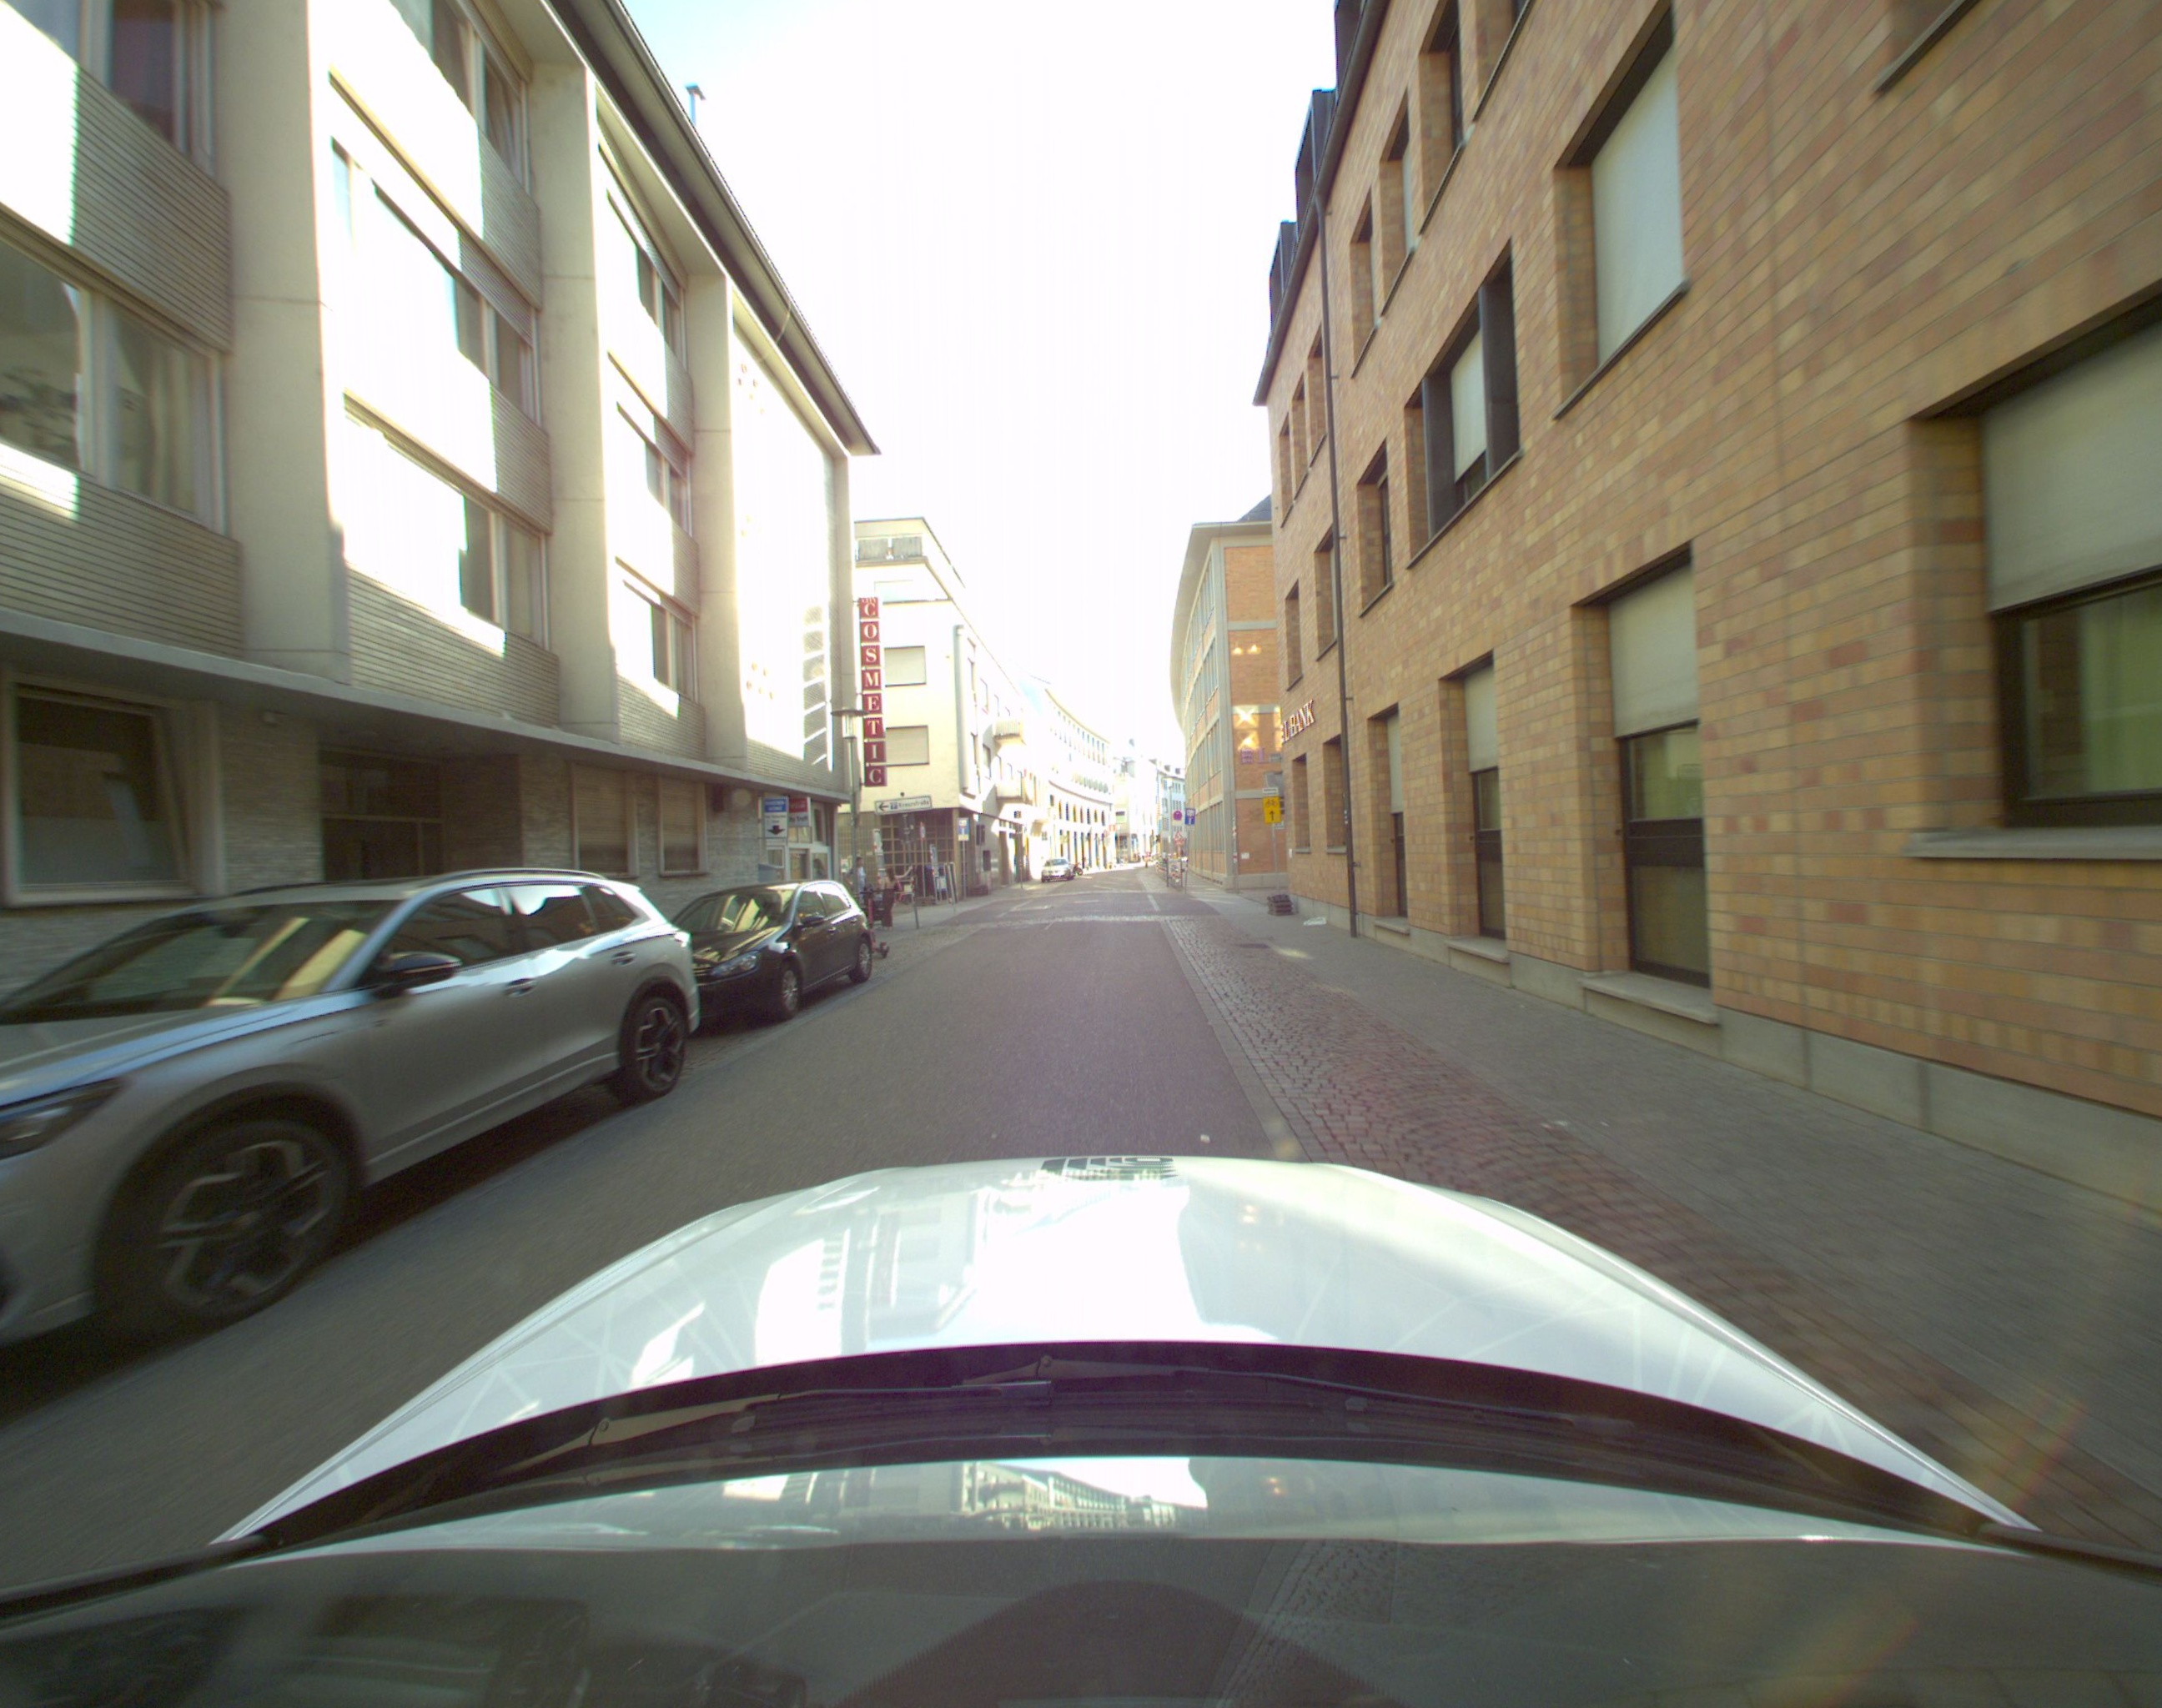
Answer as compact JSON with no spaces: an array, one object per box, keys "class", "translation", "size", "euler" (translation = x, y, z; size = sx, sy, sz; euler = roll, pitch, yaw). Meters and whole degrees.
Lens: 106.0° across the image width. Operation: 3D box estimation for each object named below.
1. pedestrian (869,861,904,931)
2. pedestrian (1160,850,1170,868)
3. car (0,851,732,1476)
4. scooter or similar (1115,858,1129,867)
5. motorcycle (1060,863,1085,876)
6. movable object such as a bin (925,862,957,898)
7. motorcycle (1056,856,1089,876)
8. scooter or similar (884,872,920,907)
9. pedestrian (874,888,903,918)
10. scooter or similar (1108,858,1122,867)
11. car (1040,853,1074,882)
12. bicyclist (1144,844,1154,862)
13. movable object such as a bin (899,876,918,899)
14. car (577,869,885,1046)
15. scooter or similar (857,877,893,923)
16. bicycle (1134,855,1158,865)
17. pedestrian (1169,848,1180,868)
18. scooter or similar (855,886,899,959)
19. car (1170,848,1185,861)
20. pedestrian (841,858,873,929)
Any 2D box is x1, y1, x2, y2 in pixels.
[{"class":"pedestrian","translation":[-4.687,0.992,19.627],"size":[0.650,1.625,0.452],"euler":[-2,0,-39]},{"class":"pedestrian","translation":[8.535,0.495,82.912],"size":[0.663,1.869,0.779],"euler":[0,-1,-27]},{"class":"car","translation":[-3.903,0.912,4.361],"size":[1.882,1.742,4.394],"euler":[-3,0,3]},{"class":"scooter or similar","translation":[4.823,0.981,96.152],"size":[0.520,0.928,2.242],"euler":[-1,0,33]},{"class":"motorcycle","translation":[-0.582,1.079,57.363],"size":[1.682,0.859,0.596],"euler":[-1,-1,7]},{"class":"movable object such as a bin","translation":[-5.649,1.054,32.889],"size":[0.939,1.420,0.874],"euler":[0,-1,-44]},{"class":"motorcycle","translation":[-0.615,0.878,61.078],"size":[2.381,1.317,0.862],"euler":[-3,0,2]},{"class":"scooter or similar","translation":[-6.716,1.328,30.542],"size":[1.152,1.207,0.480],"euler":[-3,0,2]},{"class":"pedestrian","translation":[-5.081,1.282,21.439],"size":[0.585,0.715,0.641],"euler":[-2,0,-27]},{"class":"scooter or similar","translation":[3.921,0.997,92.840],"size":[0.520,0.928,2.242],"euler":[-1,0,33]},{"class":"car","translation":[-1.428,0.800,49.894],"size":[1.729,1.606,3.536],"euler":[-1,0,3]},{"class":"bicyclist","translation":[9.189,-0.104,109.909],"size":[1.082,2.389,0.744],"euler":[-1,-1,16]},{"class":"movable object such as a bin","translation":[-6.822,1.310,32.264],"size":[0.540,0.902,0.519],"euler":[0,-1,-44]},{"class":"car","translation":[-3.788,1.020,9.675],"size":[1.642,1.460,4.002],"euler":[-5,0,3]},{"class":"scooter or similar","translation":[-5.380,1.182,21.222],"size":[0.794,1.161,0.630],"euler":[0,-1,-27]},{"class":"bicycle","translation":[8.747,0.838,110.016],"size":[3.065,1.354,0.704],"euler":[-1,-1,15]},{"class":"pedestrian","translation":[8.901,0.375,77.617],"size":[0.663,1.869,0.754],"euler":[0,-1,-27]},{"class":"scooter or similar","translation":[-3.638,1.192,14.457],"size":[0.415,1.198,1.111],"euler":[-7,0,-26]},{"class":"car","translation":[13.233,0.105,111.537],"size":[1.725,1.606,3.543],"euler":[-4,0,11]},{"class":"pedestrian","translation":[-5.598,0.979,20.338],"size":[0.443,1.738,0.556],"euler":[-2,0,26]}]
